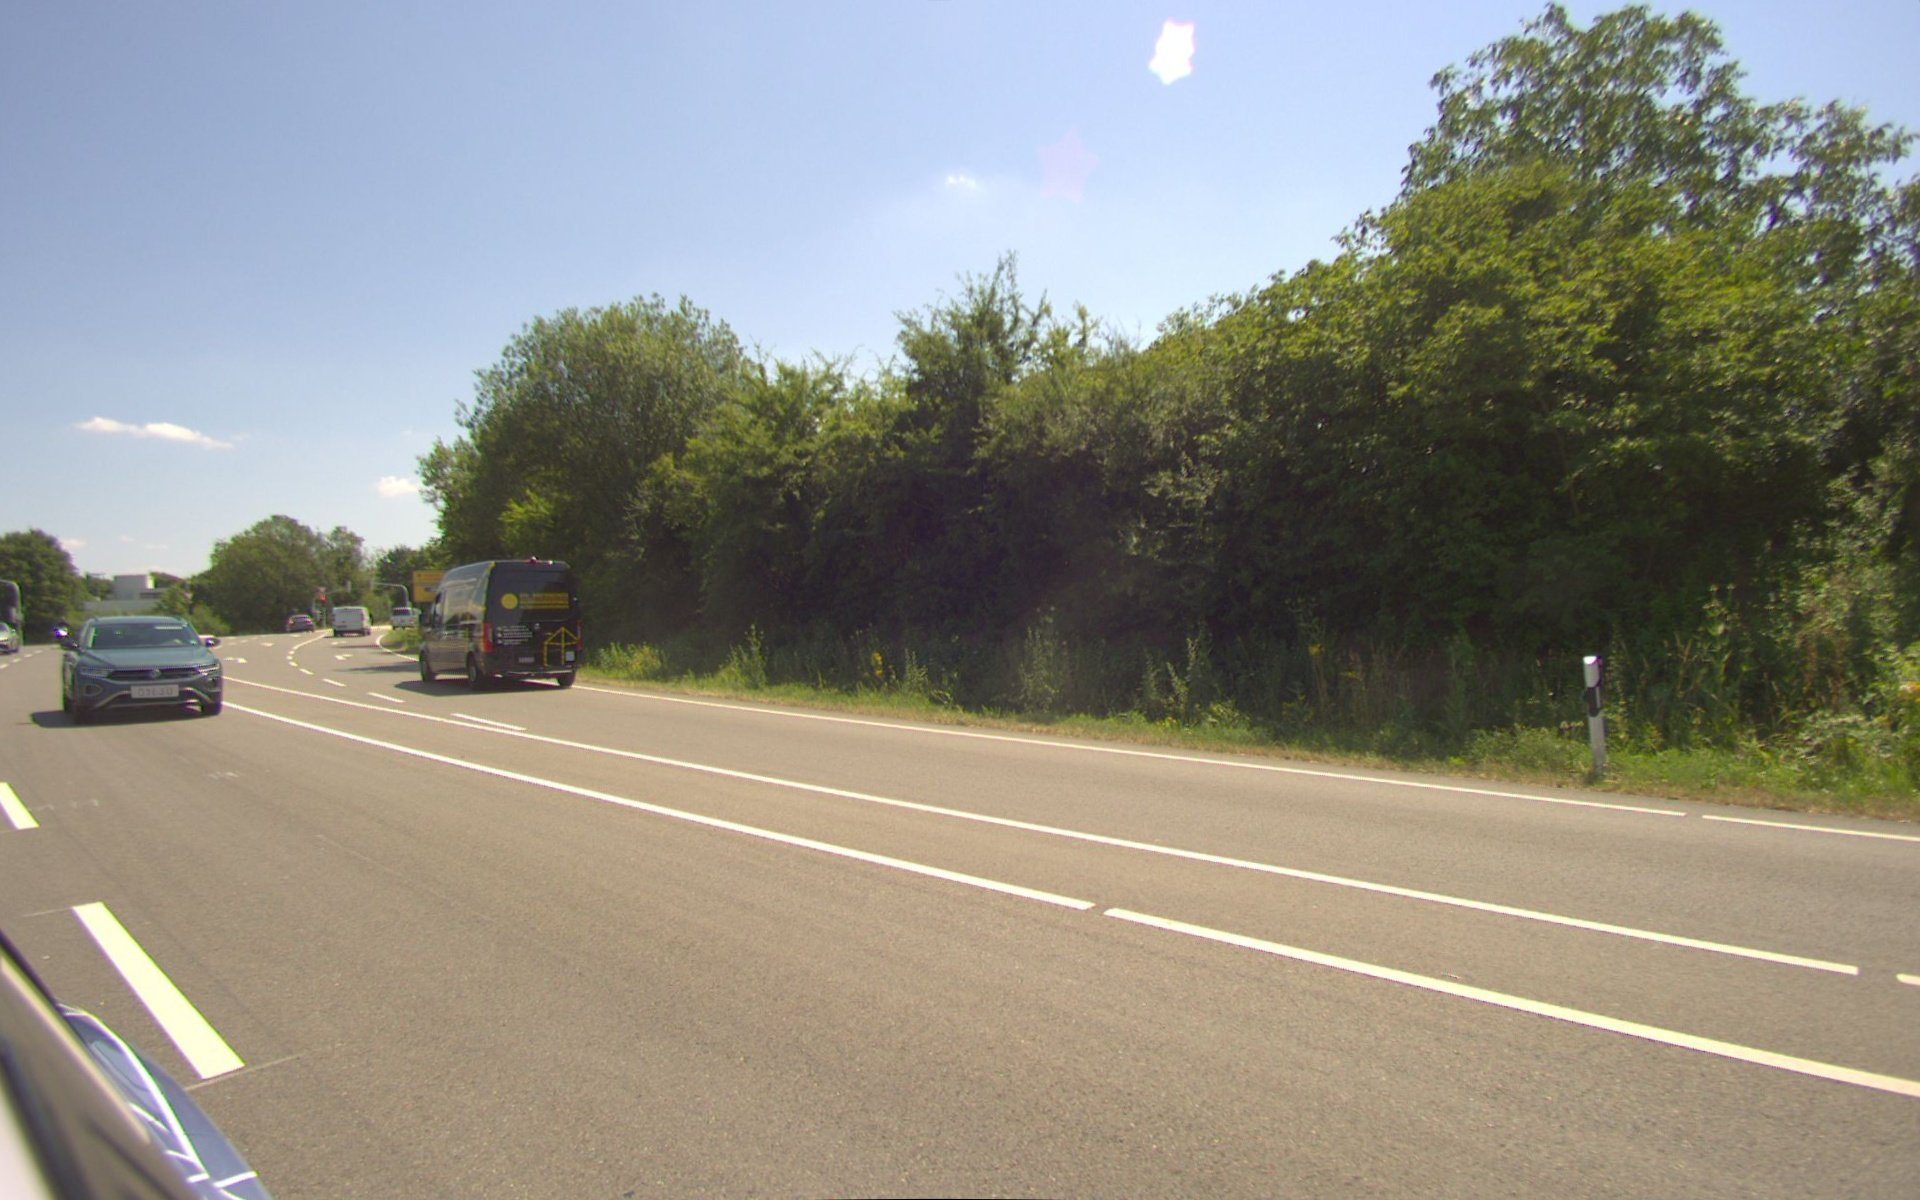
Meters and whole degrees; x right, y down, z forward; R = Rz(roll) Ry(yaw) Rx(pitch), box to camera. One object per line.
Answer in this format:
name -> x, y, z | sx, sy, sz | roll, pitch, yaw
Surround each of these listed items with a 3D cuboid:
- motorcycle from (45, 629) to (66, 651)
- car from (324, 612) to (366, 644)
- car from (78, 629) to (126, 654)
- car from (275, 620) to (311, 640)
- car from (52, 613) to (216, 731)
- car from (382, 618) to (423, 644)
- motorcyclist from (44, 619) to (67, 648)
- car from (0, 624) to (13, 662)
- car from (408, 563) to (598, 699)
motorcycle -> -47.788, 2.126, 53.488 | 0.723, 1.147, 2.076 | 2, -3, -40
car -> -41.685, 1.900, 68.700 | 2.047, 2.029, 5.825 | -1, 0, -28
car -> -60.935, 2.910, 71.955 | 2.083, 1.603, 4.462 | -1, -1, -33
car -> -56.164, 2.536, 85.202 | 1.969, 1.449, 4.228 | -3, 0, -41
car -> -13.202, 1.036, 16.114 | 1.812, 1.598, 4.397 | 0, -1, -41
car -> -48.901, 2.682, 88.913 | 1.947, 2.028, 4.854 | -4, 0, -15
motorcyclist -> -47.651, 1.780, 53.327 | 0.848, 1.500, 1.163 | 1, -3, -40
car -> -43.280, 1.976, 44.599 | 1.905, 1.598, 4.186 | -4, 0, -40
car -> -10.142, 0.609, 22.110 | 2.161, 2.560, 6.046 | -1, 0, -40
